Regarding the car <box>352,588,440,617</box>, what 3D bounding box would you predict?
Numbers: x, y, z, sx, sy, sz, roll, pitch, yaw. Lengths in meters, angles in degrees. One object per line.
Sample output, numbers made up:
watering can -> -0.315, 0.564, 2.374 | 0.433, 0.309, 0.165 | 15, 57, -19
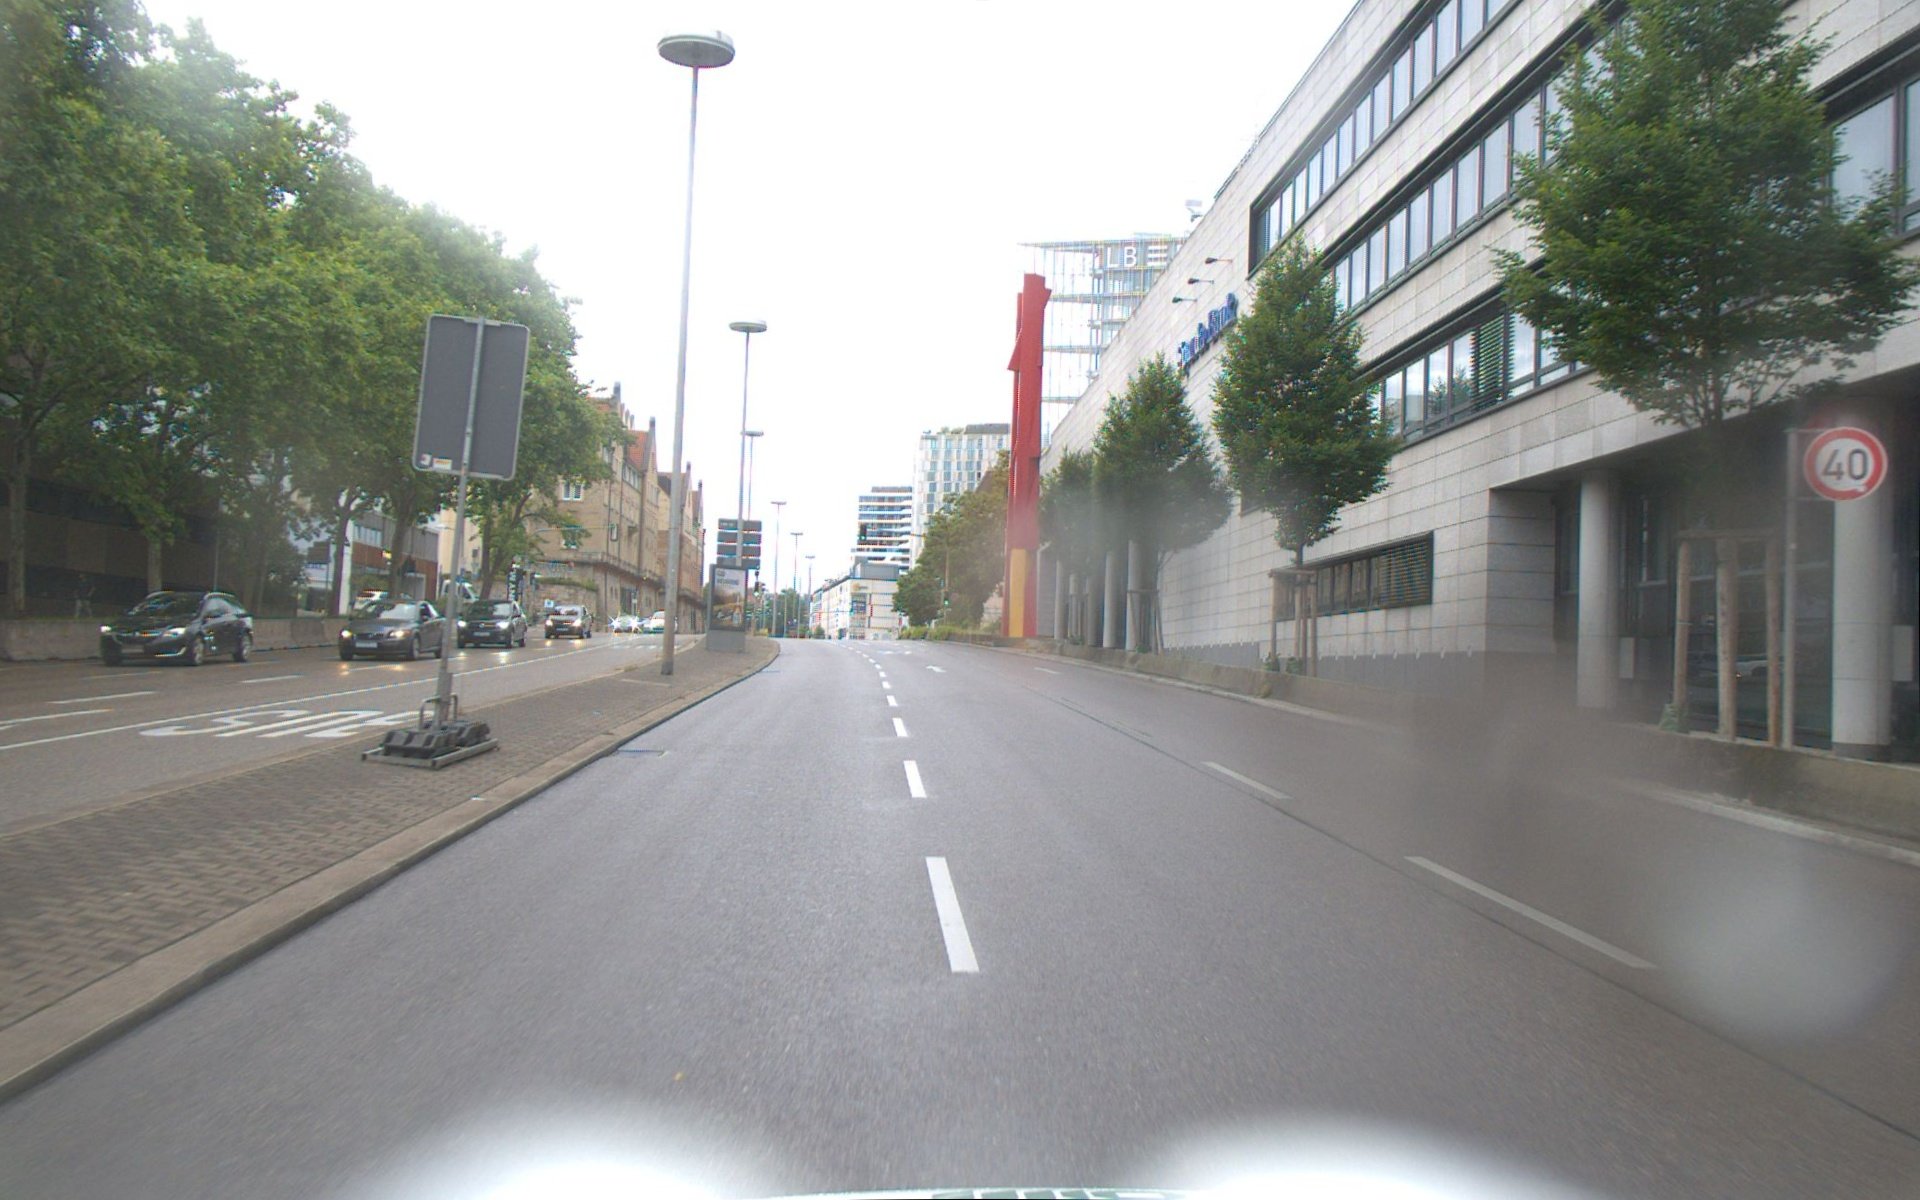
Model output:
car -> -31.961, 0.153, 93.811 | 1.788, 1.537, 4.562 | -1, -2, 34

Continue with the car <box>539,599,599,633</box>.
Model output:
car -> -17.341, 0.735, 73.455 | 1.782, 1.428, 3.998 | 0, -1, -1

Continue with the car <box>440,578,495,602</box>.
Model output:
car -> -35.883, -0.718, 120.672 | 3.559, 1.730, 1.823 | 0, -2, -7

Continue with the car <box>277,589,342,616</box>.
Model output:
car -> -36.786, 0.161, 93.554 | 1.255, 1.451, 3.172 | -1, -2, 42

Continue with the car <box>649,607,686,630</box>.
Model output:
car -> -19.410, 1.237, 109.914 | 1.782, 1.494, 3.998 | 0, -1, -1

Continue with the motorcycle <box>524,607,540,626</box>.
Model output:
motorcycle -> -29.607, 1.140, 114.518 | 0.766, 1.279, 2.990 | 1, 0, -10

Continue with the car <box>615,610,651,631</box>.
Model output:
car -> -22.789, 1.413, 115.264 | 1.782, 1.409, 3.998 | 0, -1, -1

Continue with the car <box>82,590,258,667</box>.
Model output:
car -> -16.294, 0.564, 34.393 | 1.710, 1.472, 4.721 | 1, 0, -5

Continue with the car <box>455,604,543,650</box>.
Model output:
car -> -14.747, 0.892, 53.111 | 1.782, 1.428, 3.998 | 0, -1, -1

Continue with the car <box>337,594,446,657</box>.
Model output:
car -> -13.621, 0.596, 39.838 | 1.654, 1.434, 3.994 | 1, 0, -7
